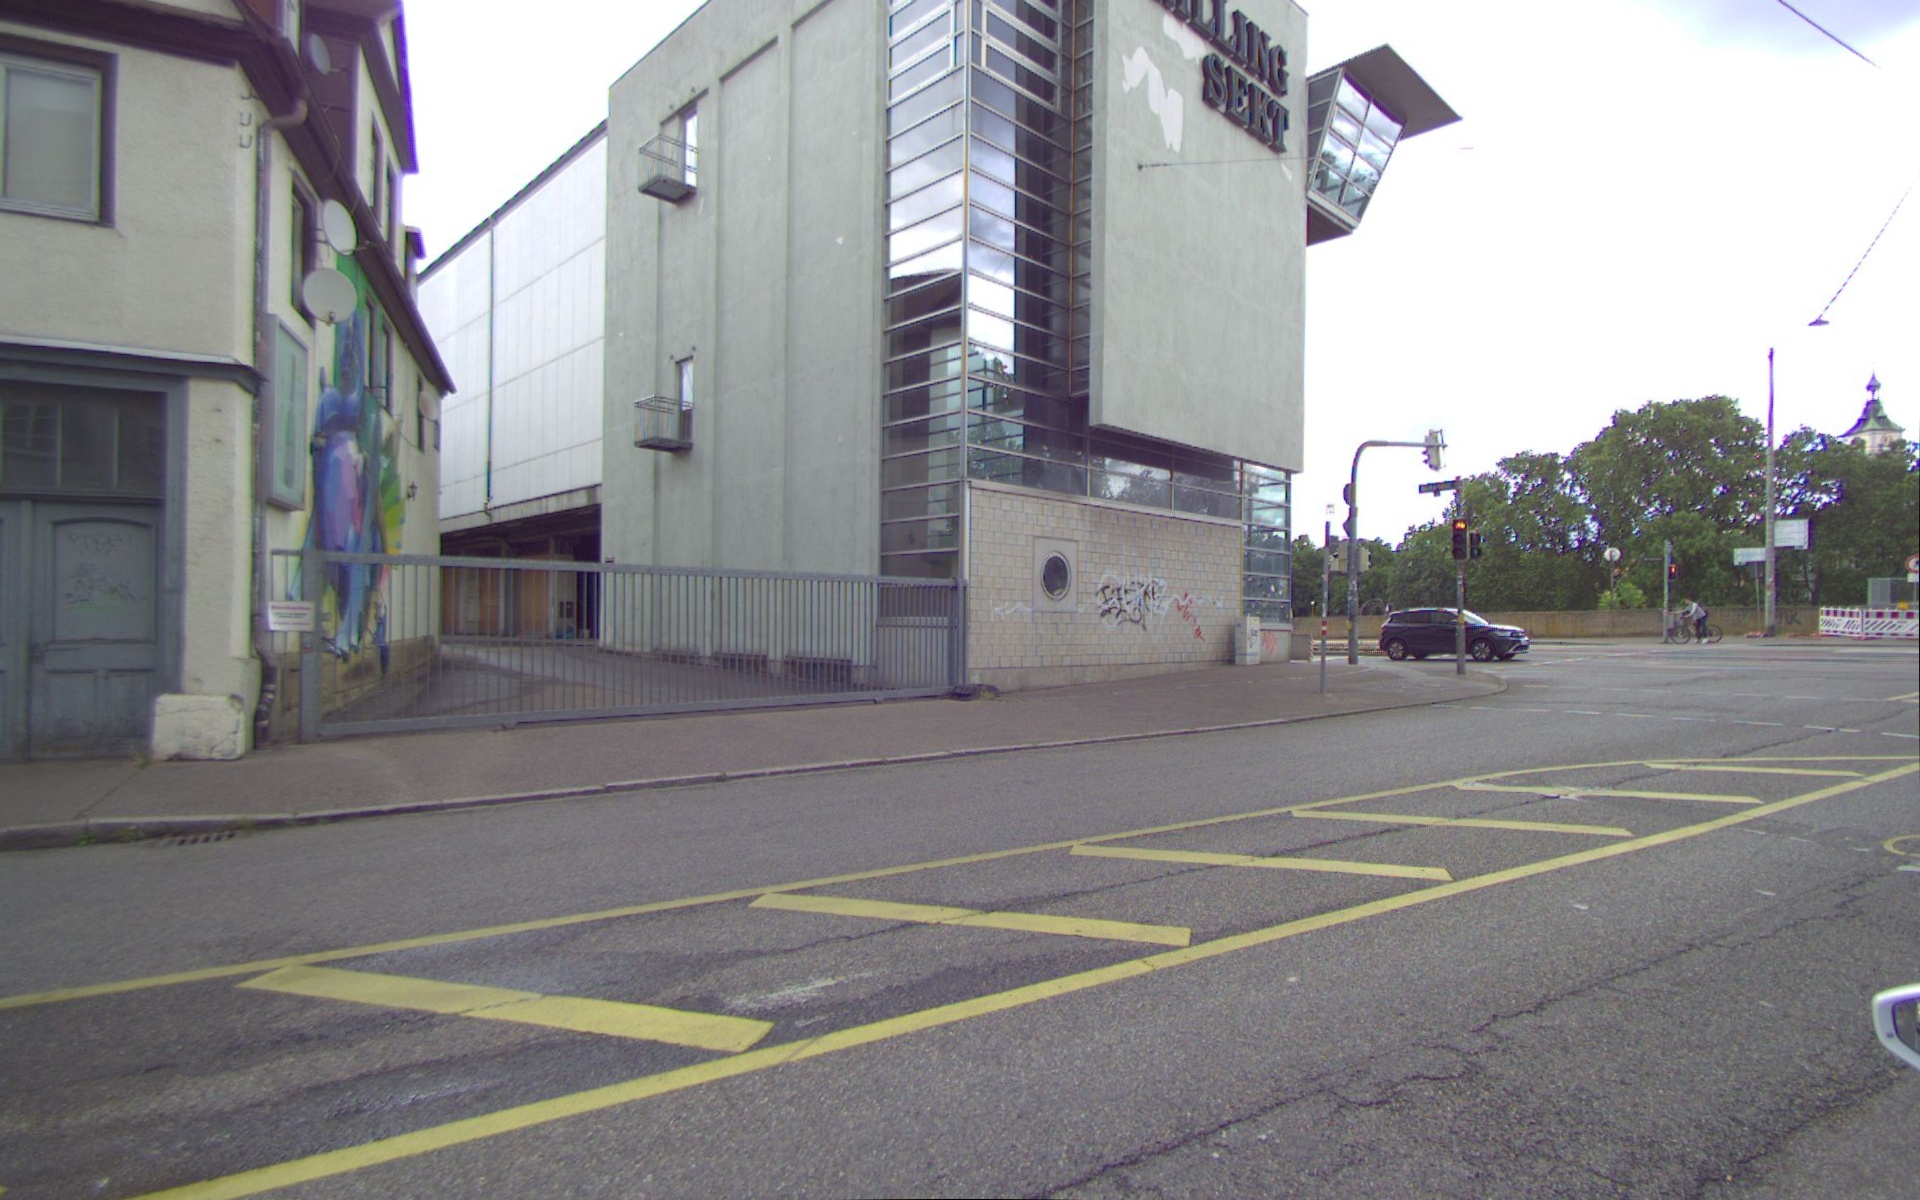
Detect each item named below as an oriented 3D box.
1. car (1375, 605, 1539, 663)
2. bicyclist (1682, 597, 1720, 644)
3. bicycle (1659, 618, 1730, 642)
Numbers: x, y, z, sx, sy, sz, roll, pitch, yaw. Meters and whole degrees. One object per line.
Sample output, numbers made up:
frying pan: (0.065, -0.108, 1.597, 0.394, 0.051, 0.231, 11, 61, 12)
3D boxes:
car: (14.826, 0.994, 30.133, 1.815, 1.594, 4.033, -1, -1, -42)
bicyclist: (28.684, 0.782, 38.894, 0.985, 1.767, 0.755, 0, 0, 20)
bicycle: (28.487, 1.155, 38.976, 2.096, 0.904, 0.760, -1, 0, 20)
